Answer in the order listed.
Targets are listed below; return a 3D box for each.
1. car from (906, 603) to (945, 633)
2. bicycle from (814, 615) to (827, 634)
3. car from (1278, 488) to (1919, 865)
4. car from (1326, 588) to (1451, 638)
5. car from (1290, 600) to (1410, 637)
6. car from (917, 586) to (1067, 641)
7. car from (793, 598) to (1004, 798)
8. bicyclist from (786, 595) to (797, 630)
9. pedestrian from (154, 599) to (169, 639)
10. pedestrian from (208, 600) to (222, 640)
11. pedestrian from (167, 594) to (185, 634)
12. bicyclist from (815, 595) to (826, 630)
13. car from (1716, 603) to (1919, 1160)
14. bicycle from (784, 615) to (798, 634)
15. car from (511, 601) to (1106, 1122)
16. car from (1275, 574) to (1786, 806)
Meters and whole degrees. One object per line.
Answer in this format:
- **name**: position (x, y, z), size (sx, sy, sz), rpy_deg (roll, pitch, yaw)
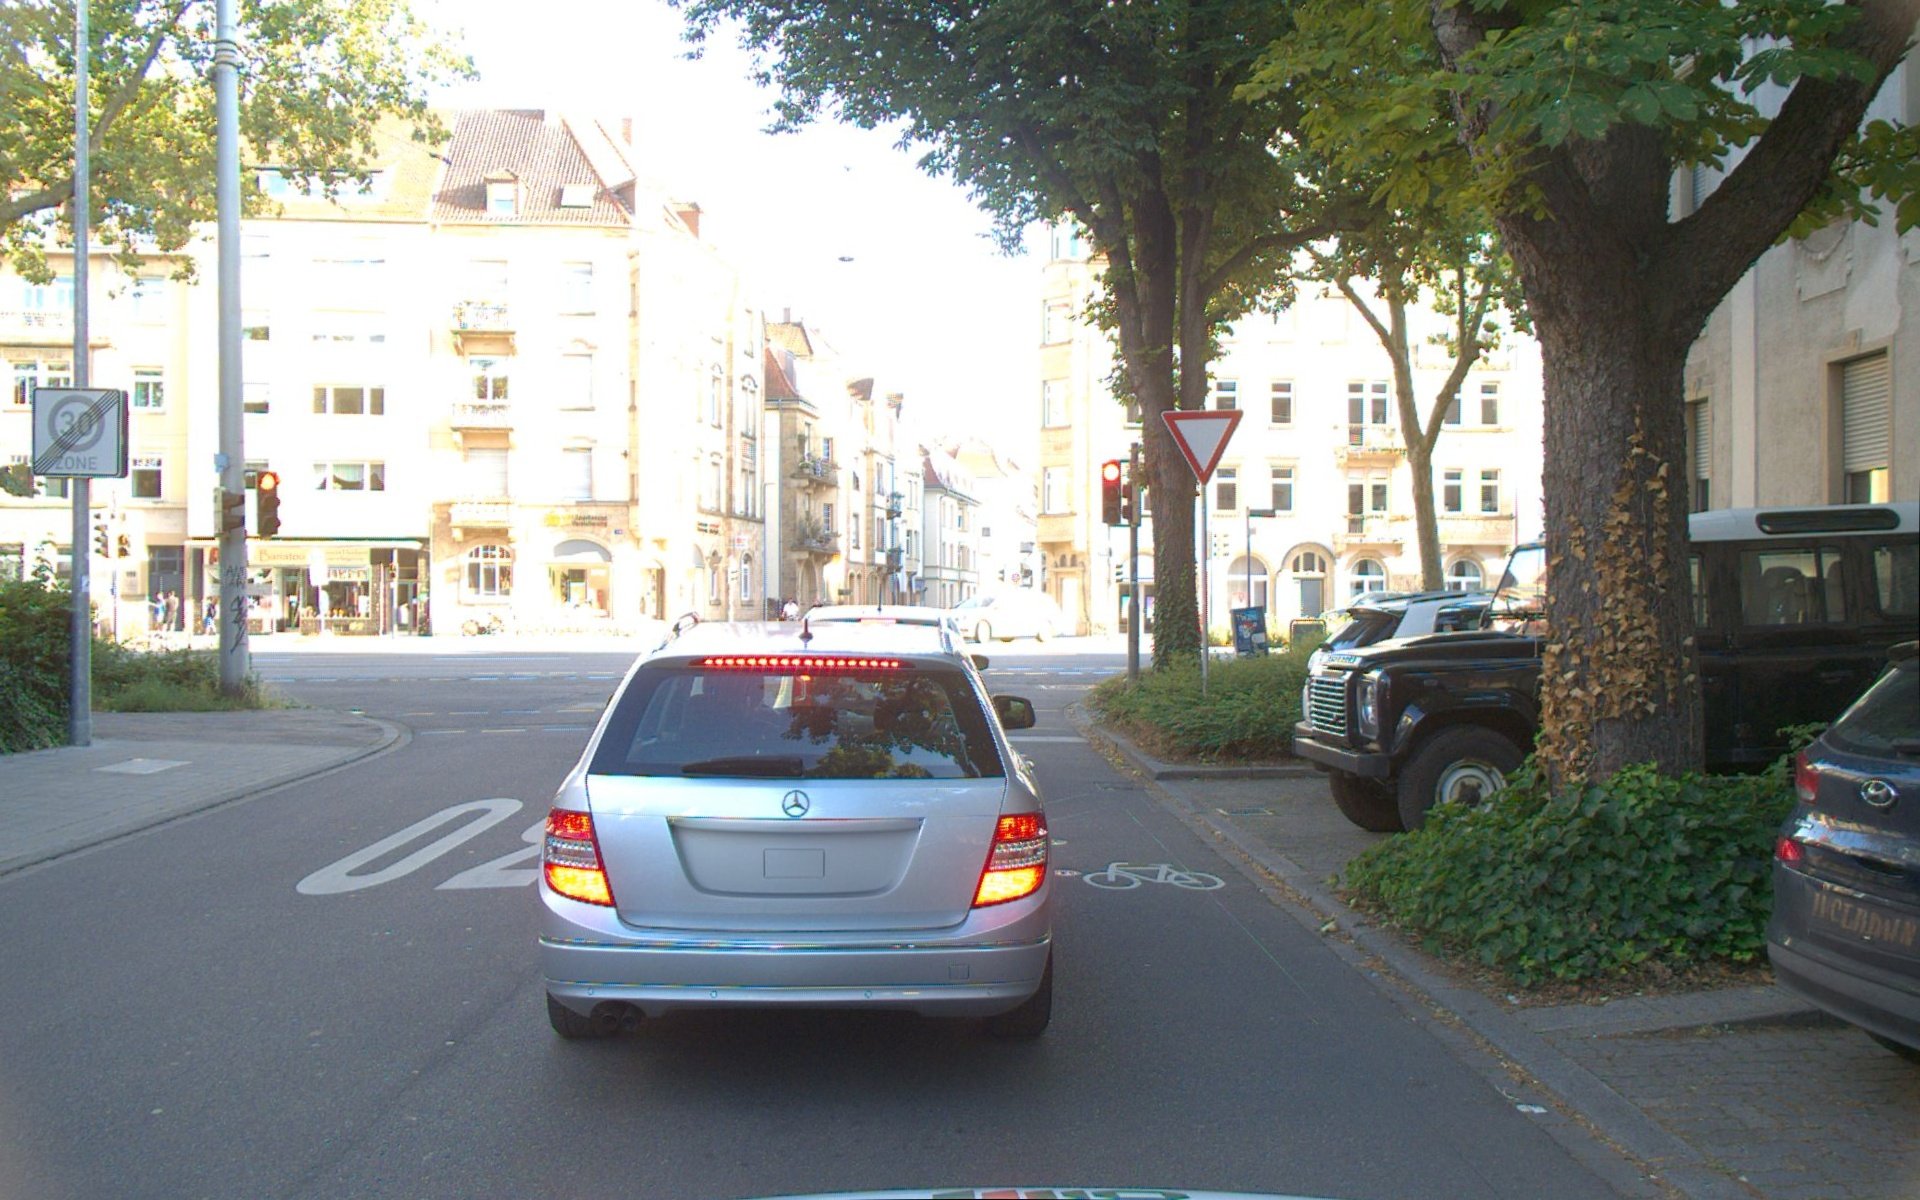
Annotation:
- **car**: position (-2.117, 1.110, 102.375), size (1.615, 1.814, 3.866), rpy_deg (0, -1, 10)
- **bicycle**: position (-6.179, 1.078, 73.314), size (0.557, 0.849, 1.564), rpy_deg (0, 0, -4)
- **car**: position (4.386, 0.397, 10.232), size (4.402, 1.990, 1.791), rpy_deg (-2, 0, -4)
- **car**: position (13.425, 0.388, 51.954), size (3.507, 1.528, 1.620), rpy_deg (0, 1, -1)
- **car**: position (11.783, 0.564, 50.086), size (3.296, 1.087, 1.380), rpy_deg (0, 0, -2)
- **car**: position (0.951, 0.350, 47.402), size (4.263, 1.487, 1.760), rpy_deg (-1, 1, -42)
- **car**: position (-0.511, 0.703, 13.657), size (1.502, 1.415, 3.597), rpy_deg (0, 0, -2)
- **bicyclist**: position (-7.460, 0.552, 73.264), size (0.457, 1.541, 0.655), rpy_deg (0, 0, -4)
- **pedestrian**: position (-30.740, 0.729, 63.655), size (0.502, 1.537, 0.532), rpy_deg (0, 0, -28)
- **pedestrian**: position (-28.577, 0.757, 63.435), size (0.466, 1.537, 0.428), rpy_deg (0, 0, -21)
- **pedestrian**: position (-29.677, 0.524, 62.592), size (0.557, 1.537, 0.499), rpy_deg (0, 0, -20)
- **bicyclist**: position (-6.179, 0.554, 73.395), size (0.457, 1.547, 0.693), rpy_deg (0, 0, -4)
- **car**: position (4.315, 0.682, 4.587), size (3.675, 1.446, 1.627), rpy_deg (-2, -1, -4)
- **bicycle**: position (-7.476, 1.086, 73.366), size (0.557, 0.849, 1.564), rpy_deg (0, 0, -4)
- **car**: position (-0.519, 0.751, 6.441), size (1.657, 1.454, 3.490), rpy_deg (1, 0, -3)
- **car**: position (4.426, 0.653, 13.105), size (3.415, 1.614, 1.708), rpy_deg (-1, 0, -7)
